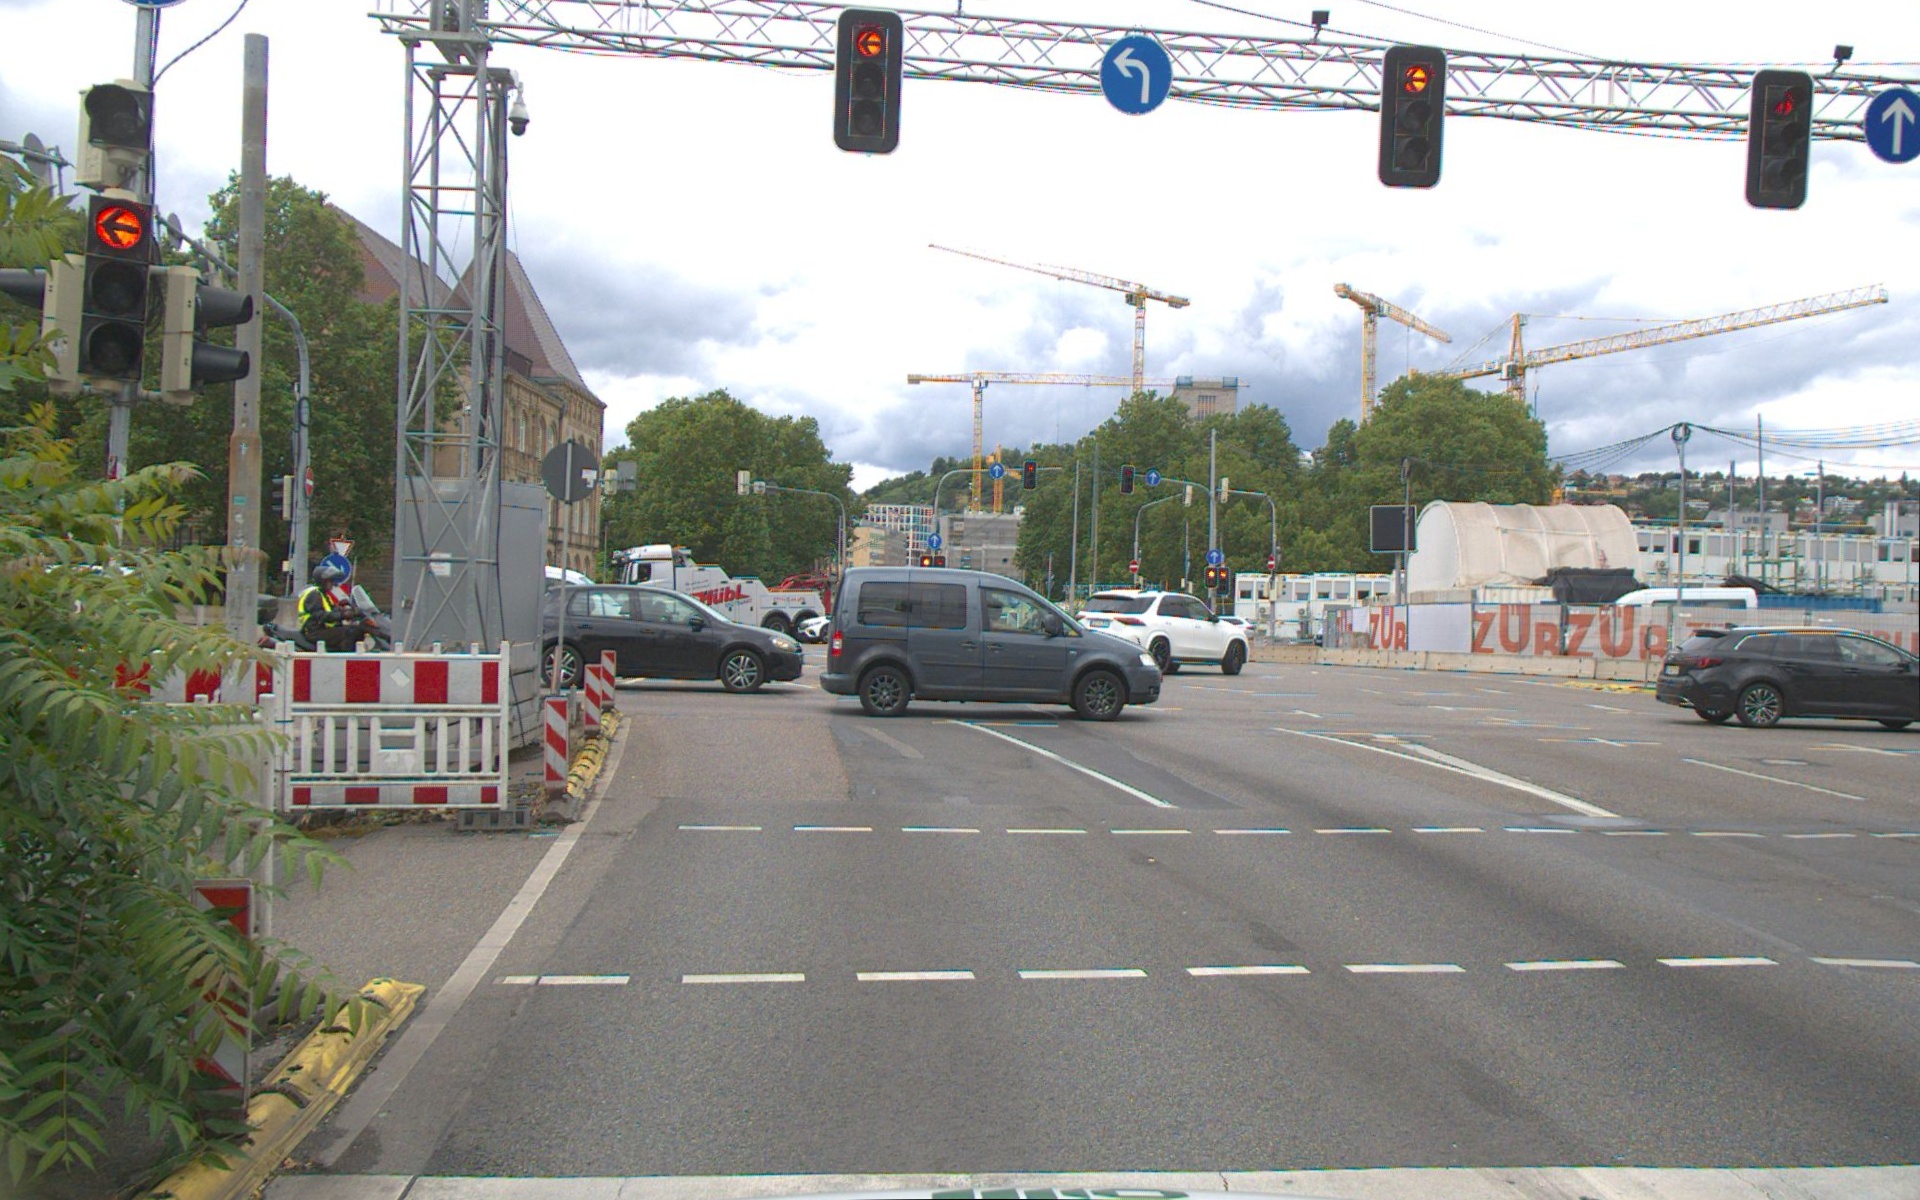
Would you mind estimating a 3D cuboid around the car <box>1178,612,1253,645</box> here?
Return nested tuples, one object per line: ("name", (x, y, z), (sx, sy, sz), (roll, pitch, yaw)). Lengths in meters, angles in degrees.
("car", (13.838, 1.532, 89.584), (3.868, 1.702, 1.920), (1, 0, 13))

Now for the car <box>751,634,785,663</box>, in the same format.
("car", (-12.825, 3.227, 110.674), (1.954, 1.870, 3.997), (1, 0, -3))

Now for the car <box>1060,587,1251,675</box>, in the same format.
("car", (4.360, 0.665, 36.445), (1.965, 1.790, 4.477), (1, 0, 42))

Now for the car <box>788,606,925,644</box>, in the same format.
("car", (-4.182, 1.030, 66.881), (5.066, 1.444, 2.220), (1, 0, -24))

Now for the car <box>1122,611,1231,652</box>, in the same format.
("car", (9.624, 1.399, 73.612), (4.524, 1.754, 1.894), (1, 0, -24))

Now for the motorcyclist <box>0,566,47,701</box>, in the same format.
("motorcyclist", (-11.806, 0.403, 20.319), (0.770, 1.624, 0.652), (1, -1, 0))

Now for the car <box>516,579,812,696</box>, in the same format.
("car", (-4.213, 0.534, 24.131), (4.026, 1.574, 1.998), (1, 0, -5))

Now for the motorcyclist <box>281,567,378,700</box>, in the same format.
("motorcyclist", (-7.775, 0.411, 20.430), (0.860, 1.598, 0.817), (1, -1, 0))

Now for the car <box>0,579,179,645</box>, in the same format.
("car", (-28.444, 0.388, 54.004), (5.050, 2.049, 2.067), (1, 0, -18))

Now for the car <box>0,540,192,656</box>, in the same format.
("car", (-15.631, -0.072, 28.175), (4.156, 1.866, 2.000), (1, 2, 0))

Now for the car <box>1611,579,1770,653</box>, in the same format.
("car", (21.052, 0.449, 47.824), (3.902, 2.049, 2.001), (1, 0, 15))

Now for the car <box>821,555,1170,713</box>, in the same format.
("car", (0.416, 0.418, 20.919), (4.183, 1.837, 1.999), (1, 0, -2))

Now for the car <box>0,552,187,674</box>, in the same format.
("car", (-14.426, 0.171, 24.924), (4.577, 1.732, 1.999), (1, 0, -3))

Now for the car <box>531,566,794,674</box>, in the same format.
("car", (-5.407, 0.372, 30.606), (4.615, 1.865, 1.868), (1, 0, -6))

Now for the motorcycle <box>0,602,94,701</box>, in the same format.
("motorcycle", (-11.880, 0.619, 20.316), (2.123, 1.175, 0.652), (1, -1, 0))

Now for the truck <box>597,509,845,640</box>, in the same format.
("truck", (-9.762, -0.951, 67.929), (9.584, 5.047, 3.091), (1, -1, -24))

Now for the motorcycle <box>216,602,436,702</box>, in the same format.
("motorcycle", (-7.797, 0.631, 20.424), (2.373, 1.175, 0.817), (1, 0, 0))

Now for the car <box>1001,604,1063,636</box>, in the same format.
("car", (4.297, 1.191, 99.260), (1.971, 1.870, 3.963), (1, 0, -28))

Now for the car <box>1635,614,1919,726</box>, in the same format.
("car", (12.438, 0.999, 24.129), (4.395, 1.492, 2.001), (1, 0, 5))
